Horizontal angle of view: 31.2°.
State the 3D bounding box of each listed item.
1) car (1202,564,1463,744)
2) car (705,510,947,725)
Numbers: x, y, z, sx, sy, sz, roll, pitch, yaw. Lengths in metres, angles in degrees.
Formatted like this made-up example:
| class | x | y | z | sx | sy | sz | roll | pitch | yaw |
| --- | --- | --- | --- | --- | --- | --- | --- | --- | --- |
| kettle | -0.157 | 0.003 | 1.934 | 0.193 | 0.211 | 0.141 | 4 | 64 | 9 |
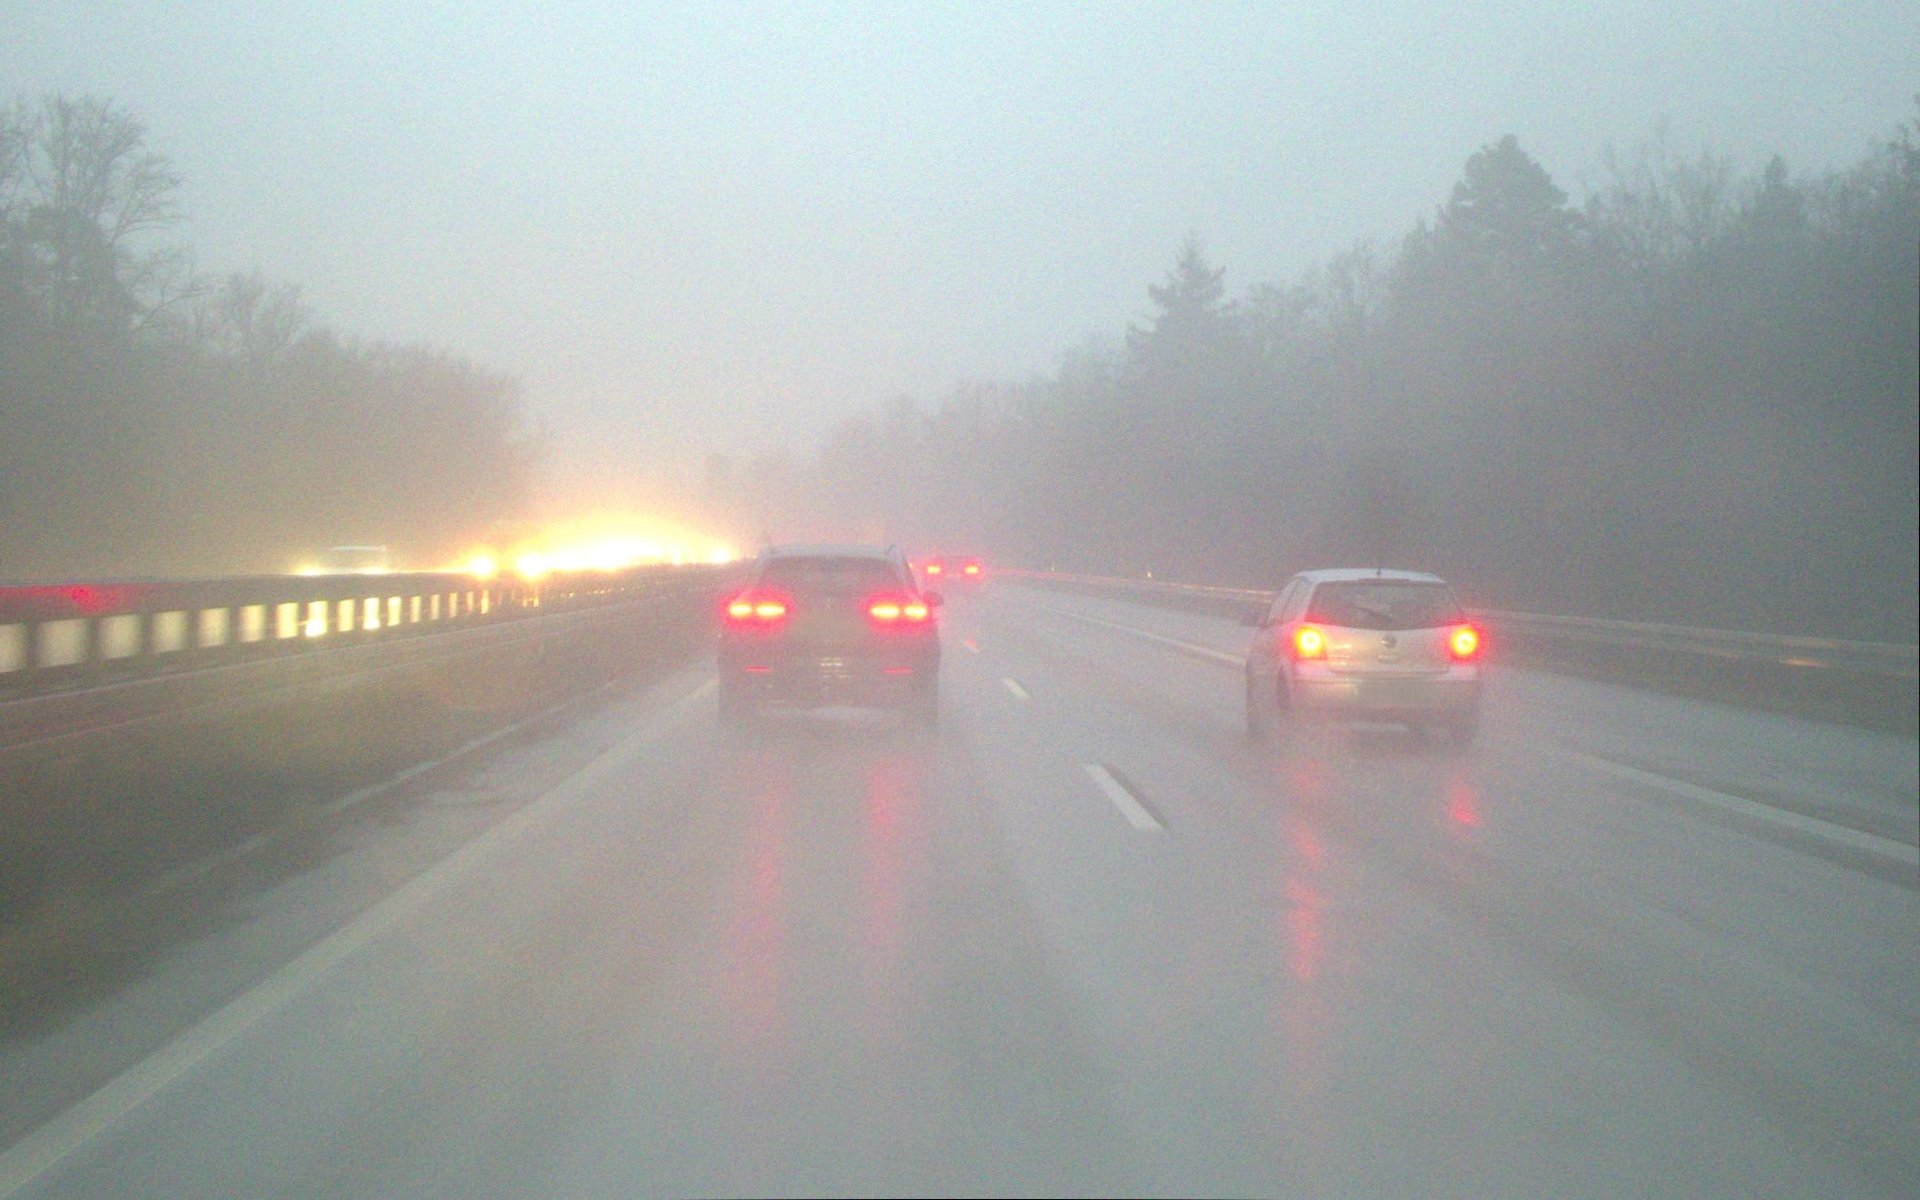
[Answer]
| class | x | y | z | sx | sy | sz | roll | pitch | yaw |
| --- | --- | --- | --- | --- | --- | --- | --- | --- | --- |
| car | 3.161 | 0.425 | 29.805 | 1.780 | 1.432 | 3.537 | 1 | 1 | -1 |
| car | -1.197 | 0.110 | 30.602 | 1.986 | 1.761 | 4.174 | 1 | 1 | -2 |
